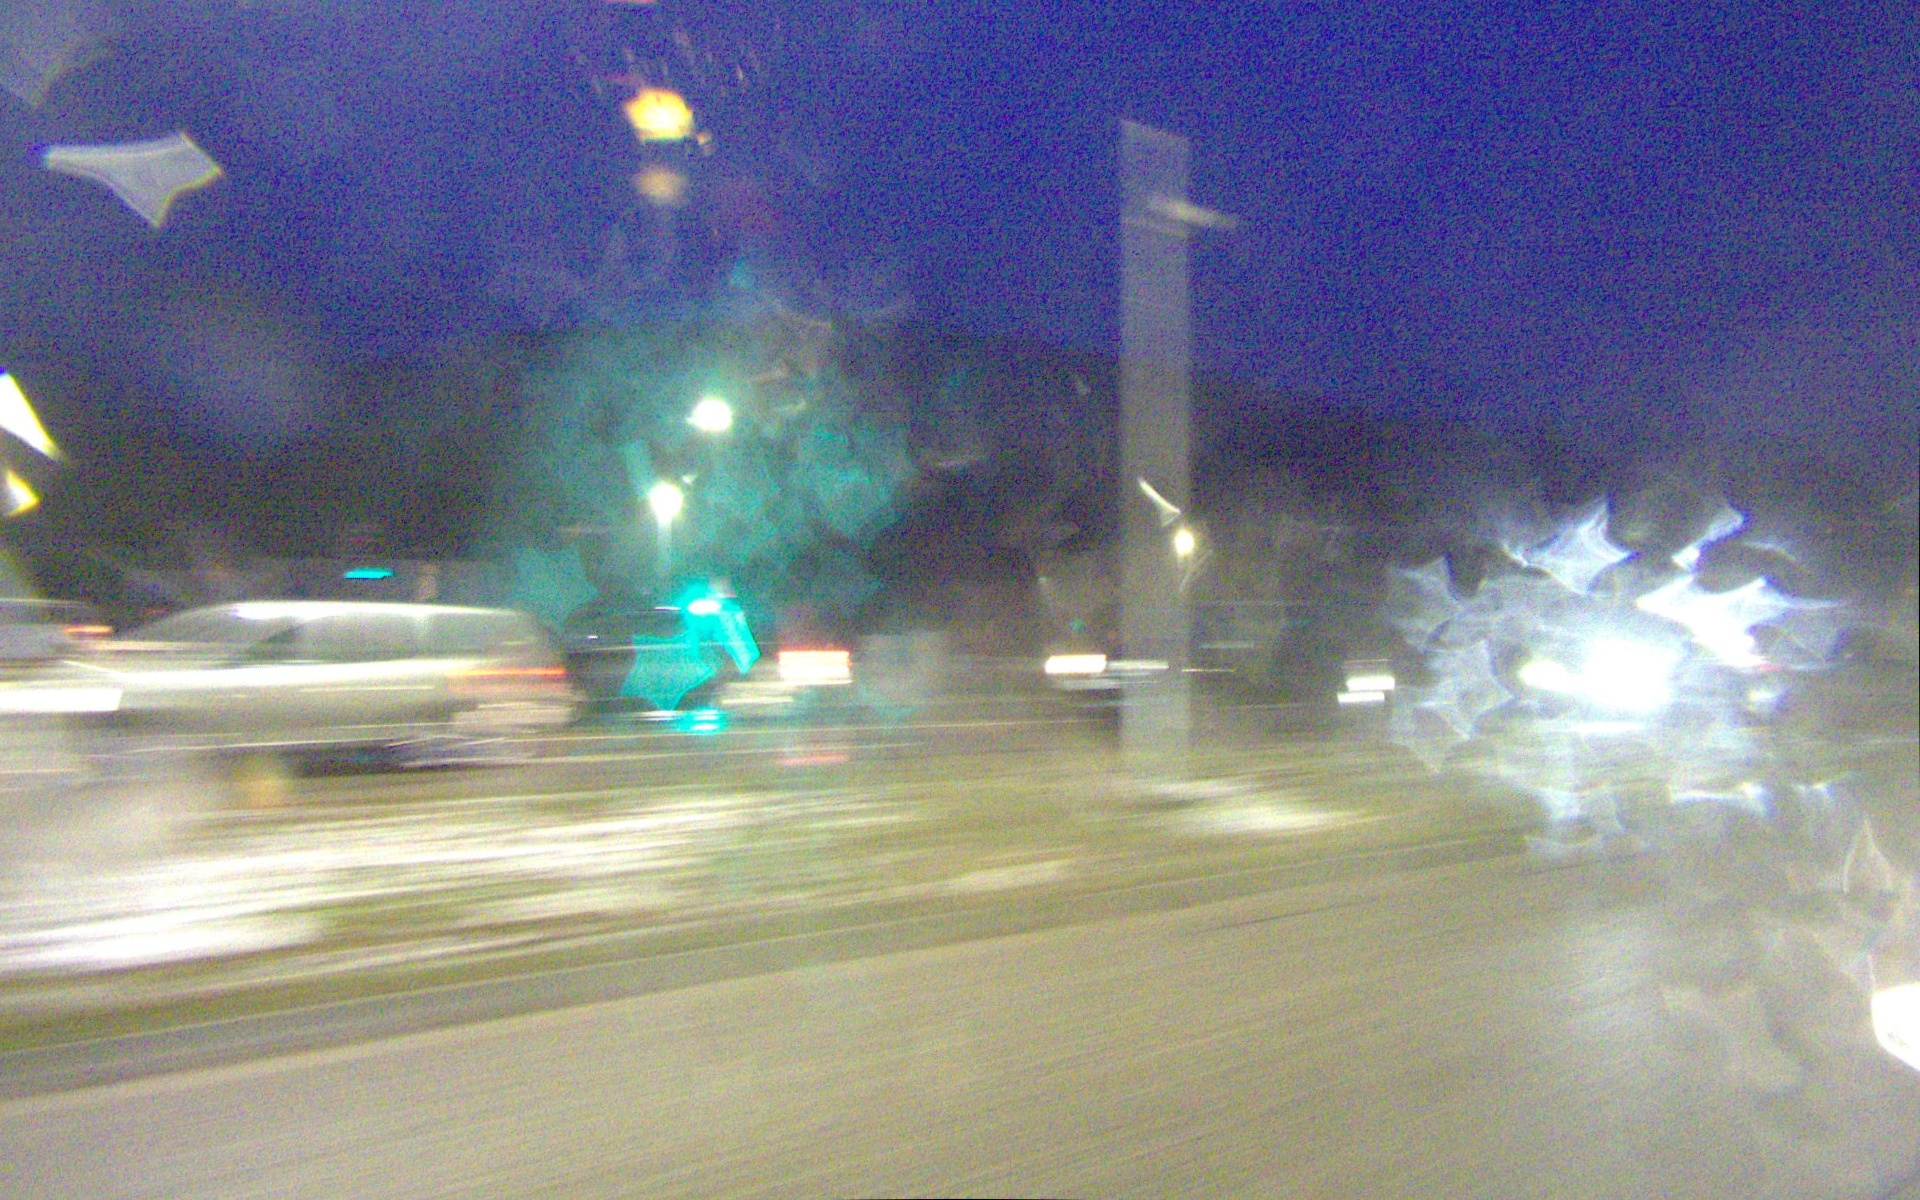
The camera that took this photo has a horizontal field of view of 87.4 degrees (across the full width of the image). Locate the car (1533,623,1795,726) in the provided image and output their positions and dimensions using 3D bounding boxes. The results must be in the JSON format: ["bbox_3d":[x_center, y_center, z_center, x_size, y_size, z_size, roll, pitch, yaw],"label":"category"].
[{"bbox_3d":[12.061,1.273,17.157,4.541,1.554,1.702,3,-2,-27],"label":"car"}]

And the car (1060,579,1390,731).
[{"bbox_3d":[3.510,0.723,13.170,4.091,1.725,1.711,3,-2,-28],"label":"car"}]

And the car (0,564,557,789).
[{"bbox_3d":[-5.468,0.620,8.499,3.609,1.545,1.578,3,-2,-30],"label":"car"}]

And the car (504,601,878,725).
[{"bbox_3d":[-3.407,0.797,12.913,4.355,1.372,1.711,3,-2,-28],"label":"car"}]

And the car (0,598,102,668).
[{"bbox_3d":[-28.145,0.922,28.903,1.960,1.965,4.928,2,-2,15],"label":"car"}]
